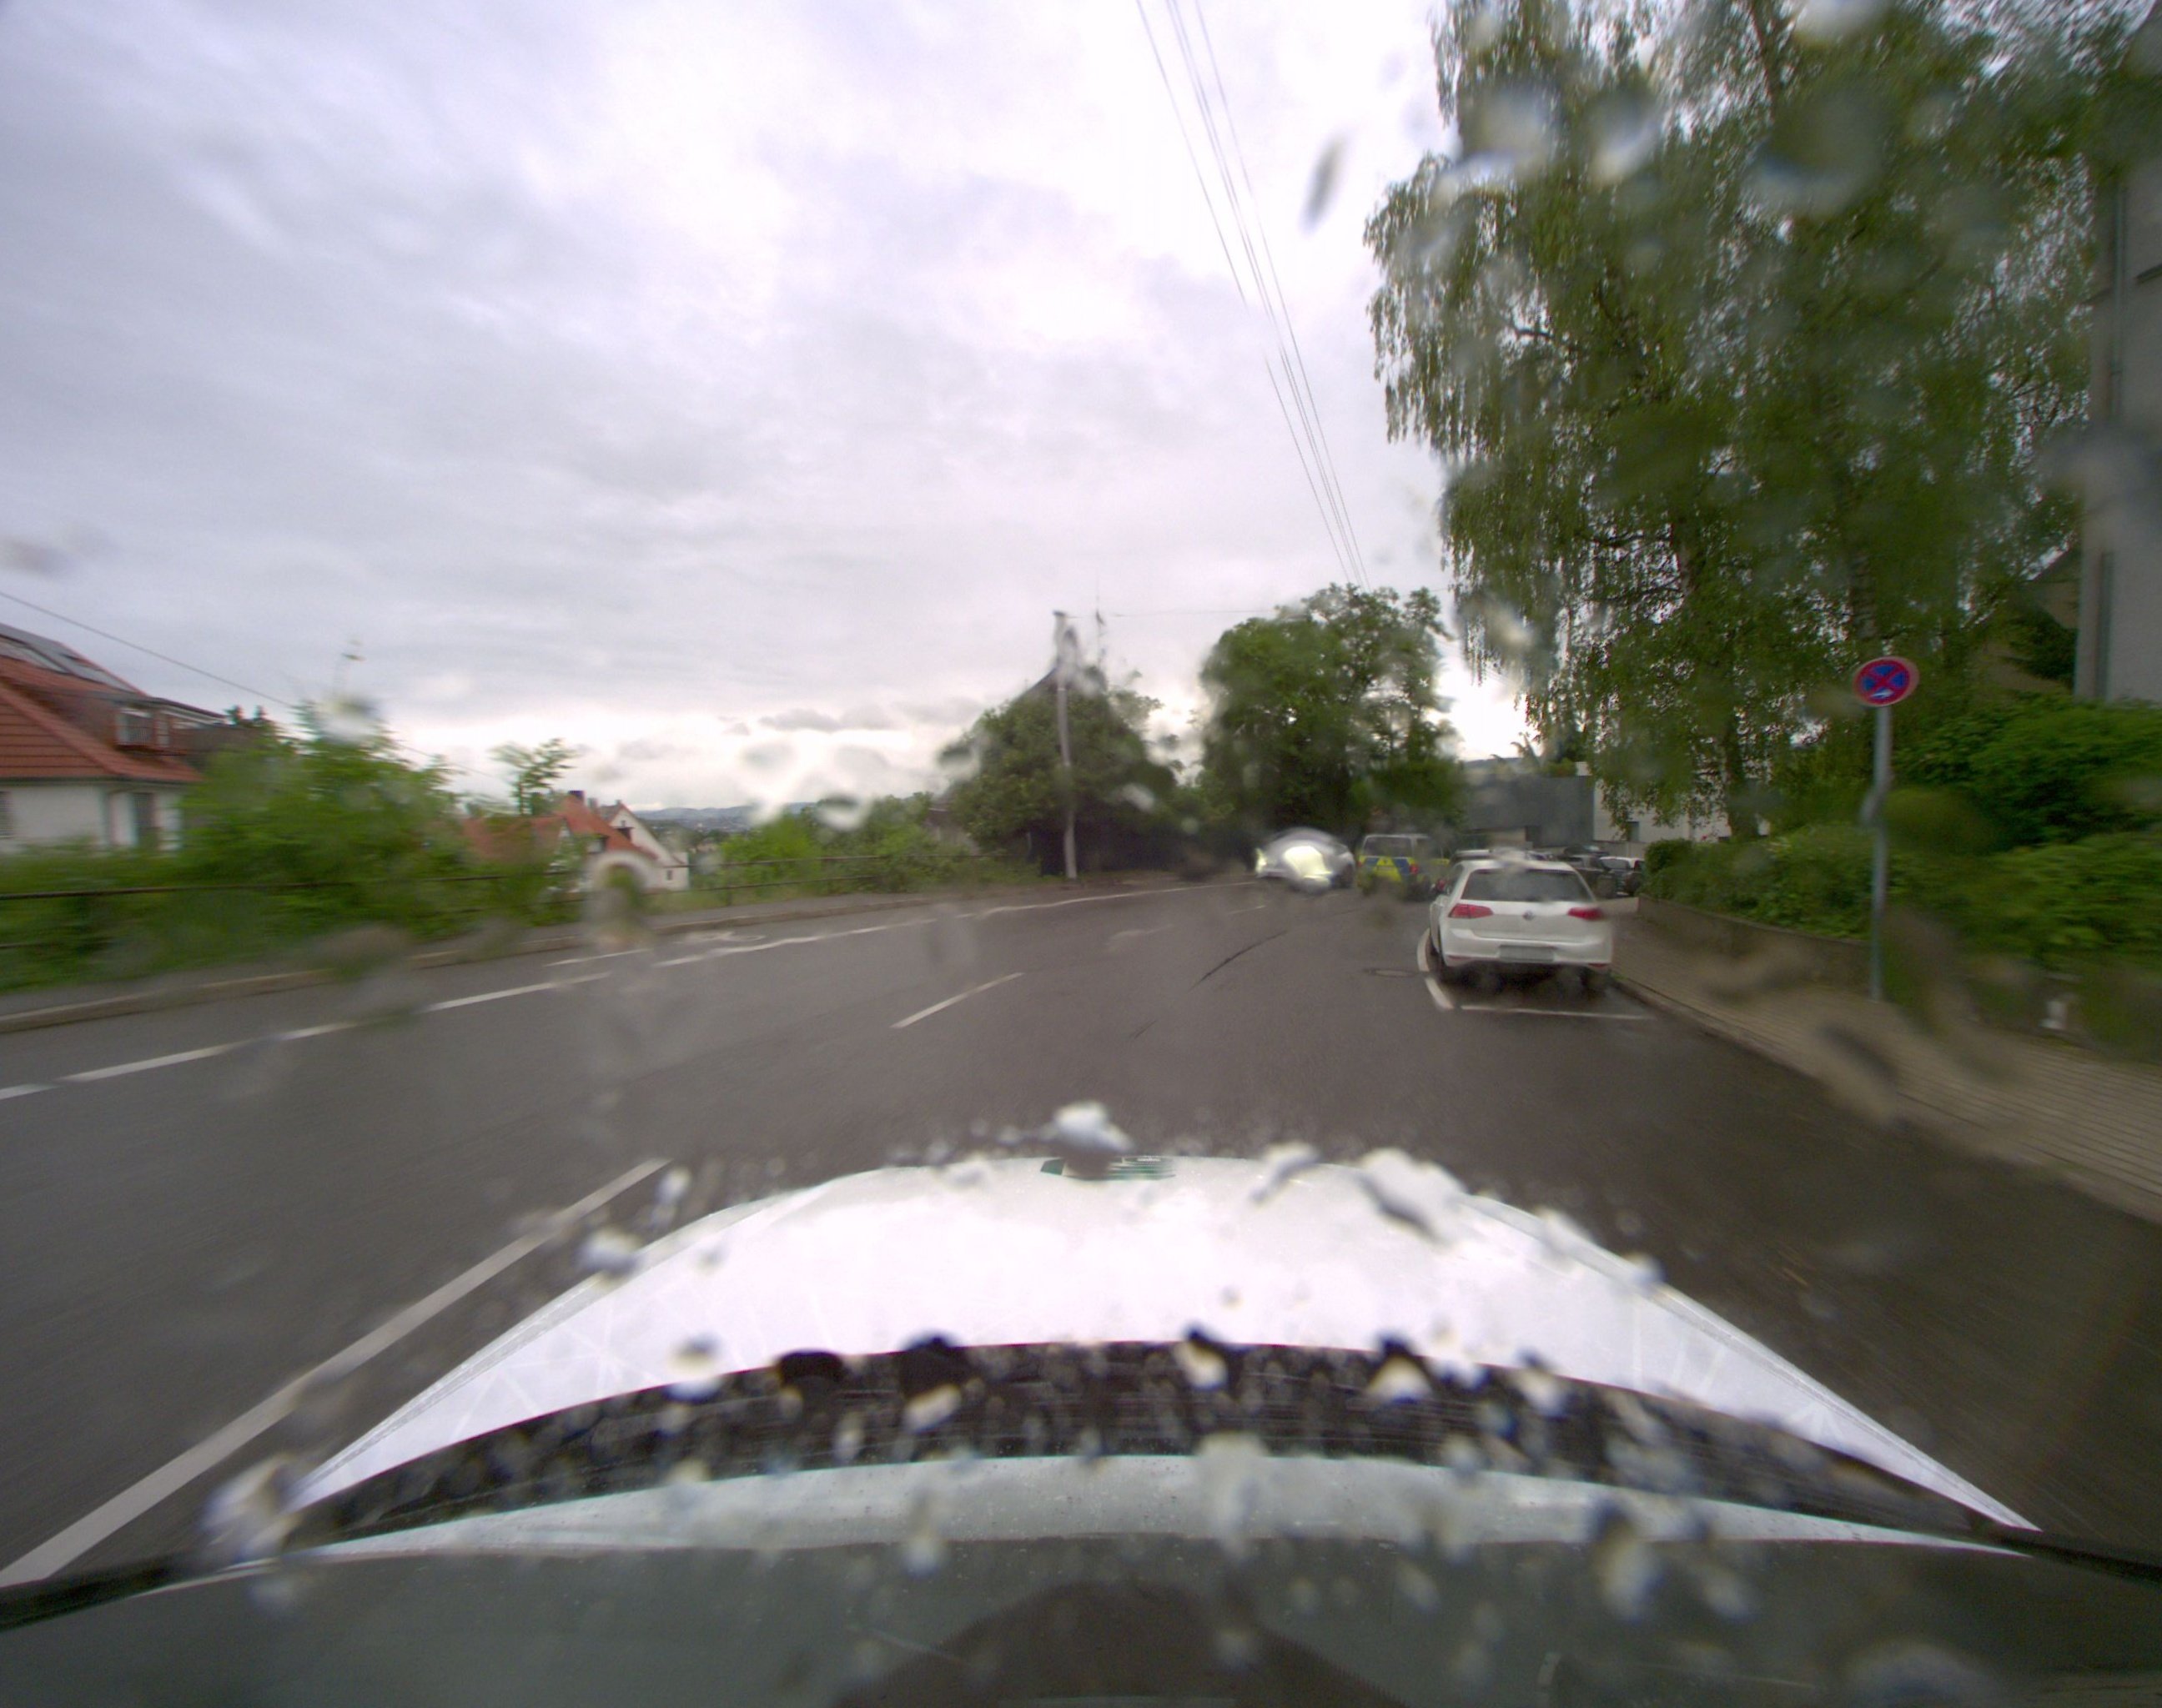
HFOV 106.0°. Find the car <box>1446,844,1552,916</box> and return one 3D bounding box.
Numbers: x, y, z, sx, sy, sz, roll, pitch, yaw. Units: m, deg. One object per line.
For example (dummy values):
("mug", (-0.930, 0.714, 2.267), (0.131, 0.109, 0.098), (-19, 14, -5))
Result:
("car", (9.703, 0.541, 18.760), (1.709, 1.464, 4.056), (-1, -1, 34))

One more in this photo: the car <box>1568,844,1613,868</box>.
("car", (32.438, 0.074, 51.963), (1.875, 1.301, 4.023), (3, 3, 24))

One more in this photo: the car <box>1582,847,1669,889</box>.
("car", (20.409, 0.510, 30.476), (3.757, 1.471, 1.668), (0, -1, -39))

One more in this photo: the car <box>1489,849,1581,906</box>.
("car", (13.168, 0.623, 23.533), (1.604, 1.505, 3.627), (-1, -1, 41))

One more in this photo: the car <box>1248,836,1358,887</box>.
("car", (7.752, 0.225, 28.222), (1.809, 1.607, 4.311), (-2, 0, 44))

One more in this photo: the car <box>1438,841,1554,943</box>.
("car", (7.557, 0.569, 14.739), (1.609, 1.519, 4.354), (-1, 1, 29))

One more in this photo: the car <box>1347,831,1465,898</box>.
("car", (10.376, 0.312, 25.788), (1.975, 1.893, 4.598), (3, 1, 41))

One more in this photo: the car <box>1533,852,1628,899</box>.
("car", (16.586, 0.656, 26.969), (4.092, 1.435, 1.699), (0, -1, -44))

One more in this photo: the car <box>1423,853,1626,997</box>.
("car", (5.448, 0.721, 10.518), (1.774, 1.446, 4.127), (1, 0, 21))
